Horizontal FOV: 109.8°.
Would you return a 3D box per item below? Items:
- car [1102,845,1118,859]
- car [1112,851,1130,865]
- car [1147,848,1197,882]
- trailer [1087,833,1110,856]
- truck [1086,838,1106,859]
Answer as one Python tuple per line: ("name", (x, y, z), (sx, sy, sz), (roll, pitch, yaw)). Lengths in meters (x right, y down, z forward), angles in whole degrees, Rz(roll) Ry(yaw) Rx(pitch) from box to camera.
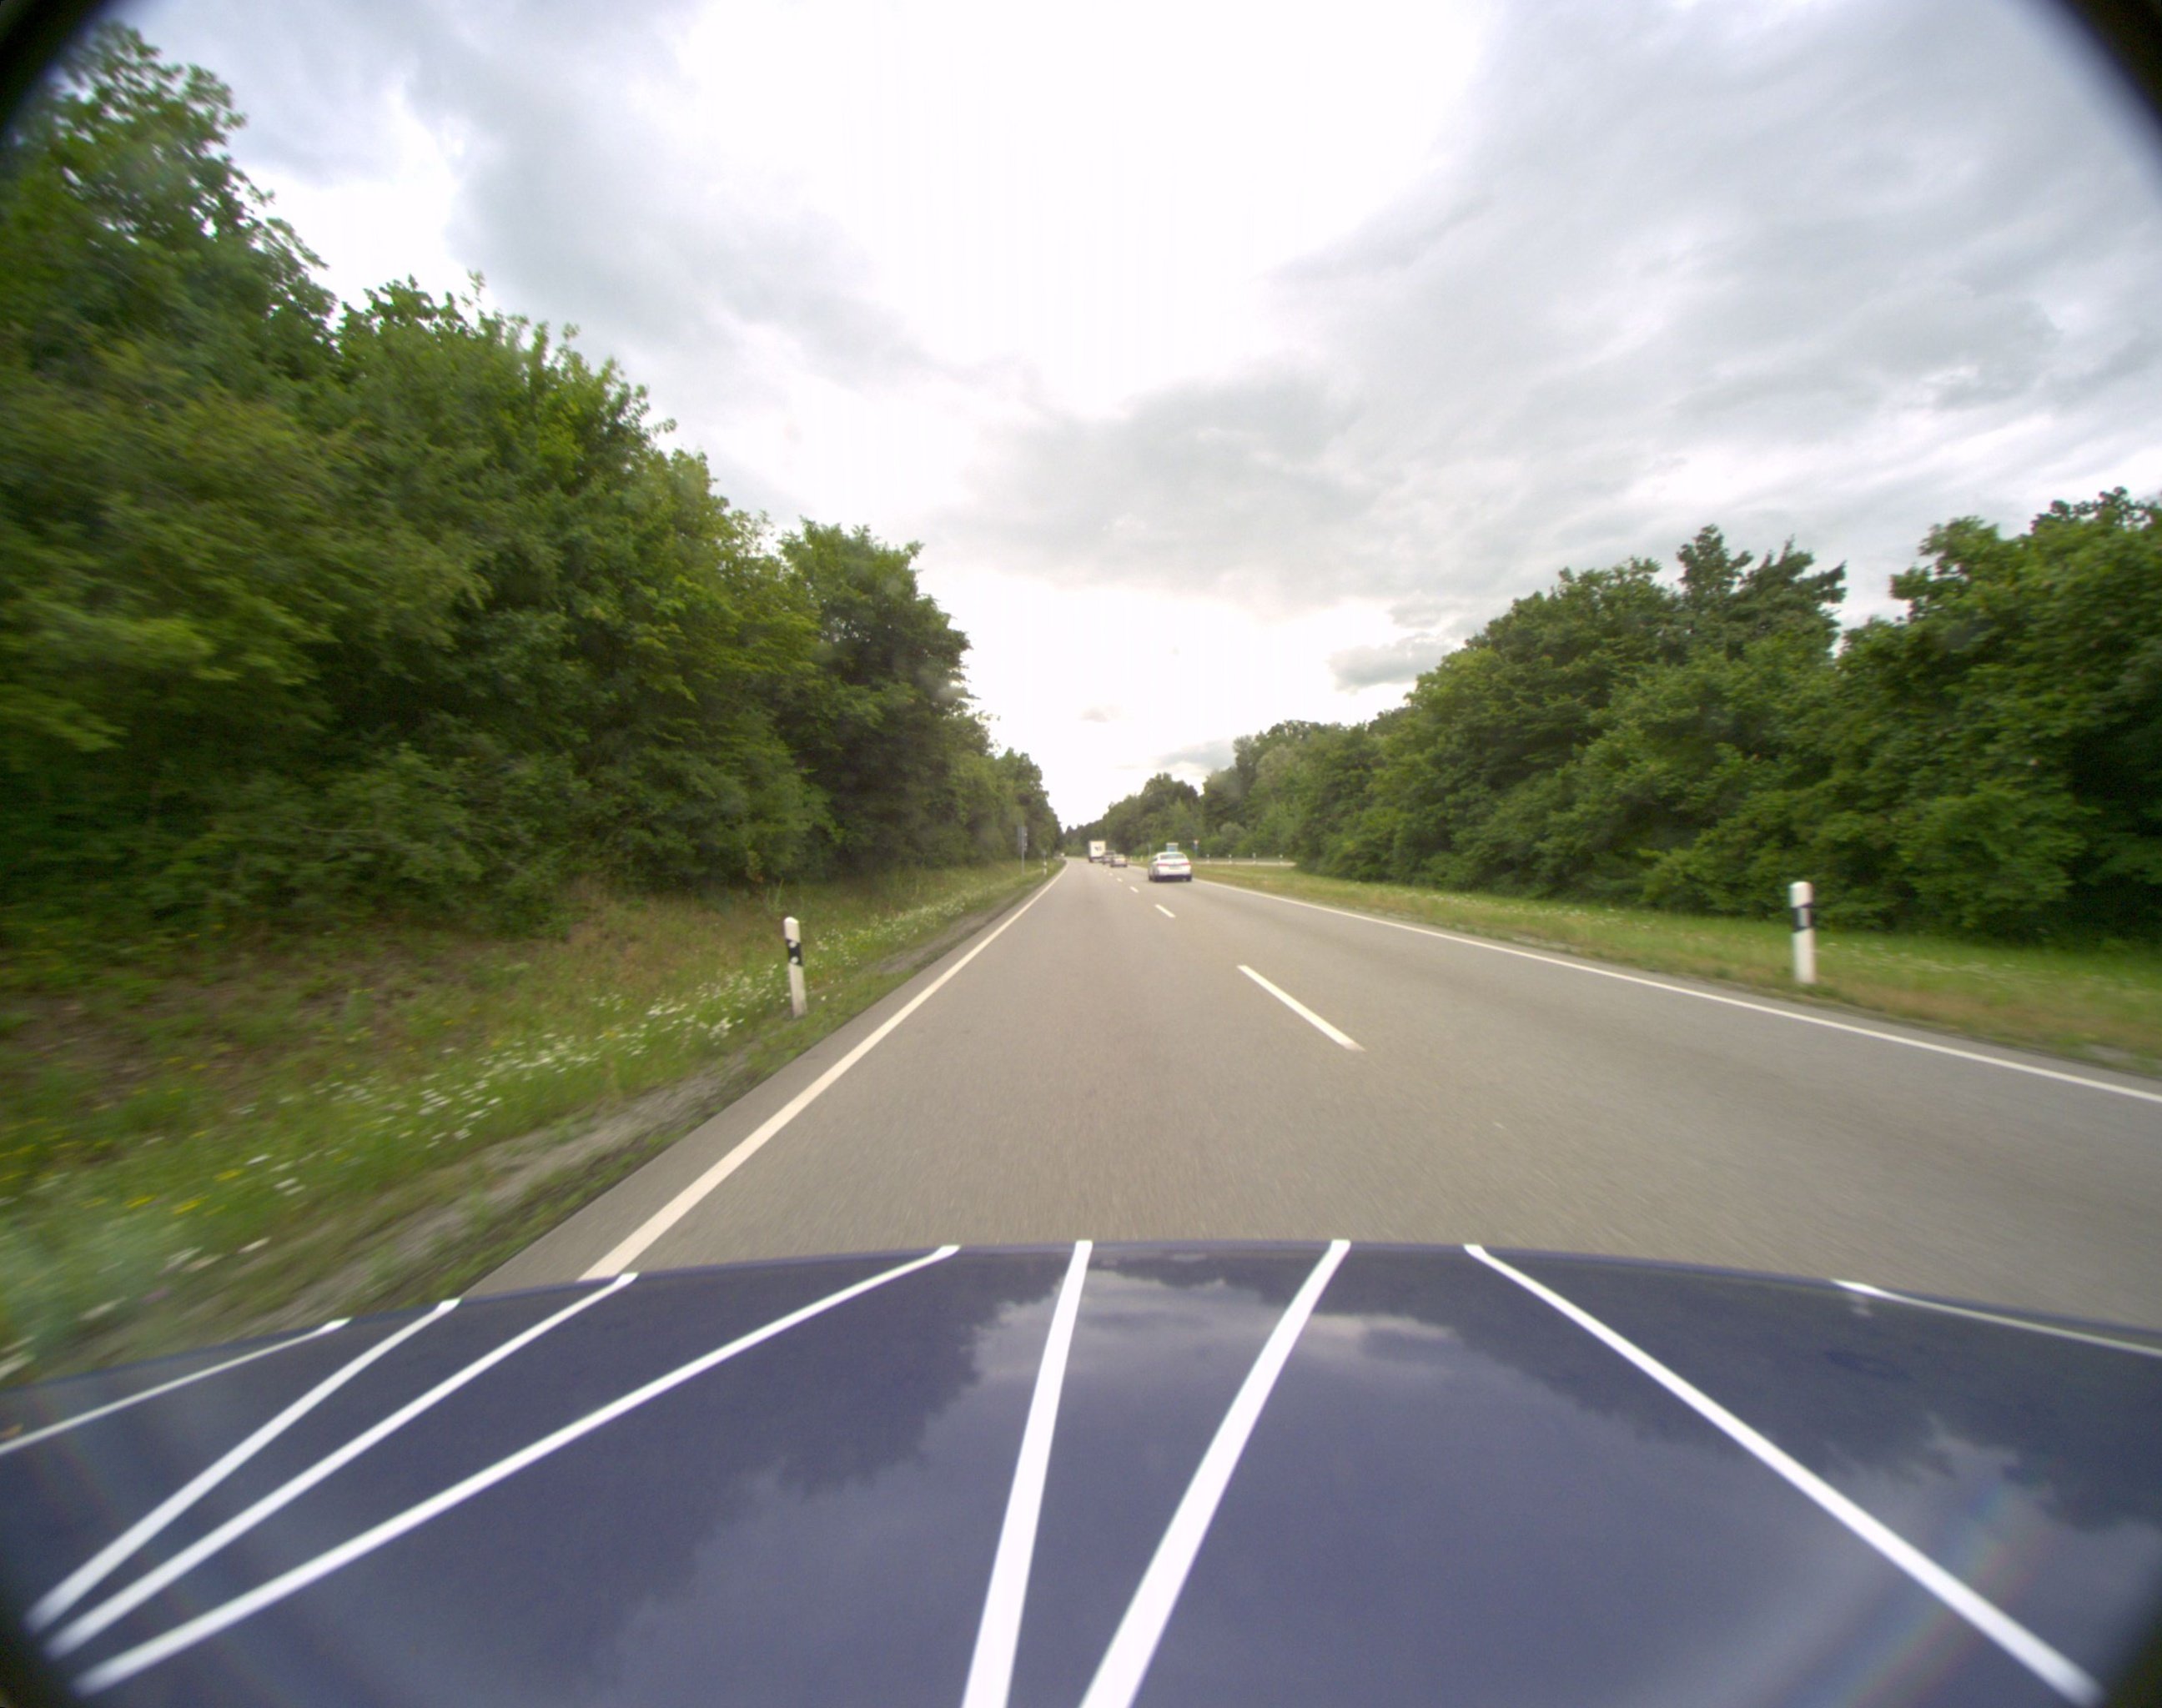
("car", (4.227, -0.288, 111.300), (1.998, 1.929, 5.810), (-2, 1, 0))
("car", (4.472, 0.441, 85.439), (1.730, 1.426, 4.502), (-2, 1, 0))
("car", (4.676, 0.518, 39.944), (1.969, 1.565, 5.451), (-2, 1, 0))
("trailer", (3.180, -1.762, 142.155), (3.212, 4.043, 14.267), (-2, 1, -2))
("truck", (2.892, -1.072, 149.554), (3.198, 4.039, 9.572), (-2, 1, -2))
